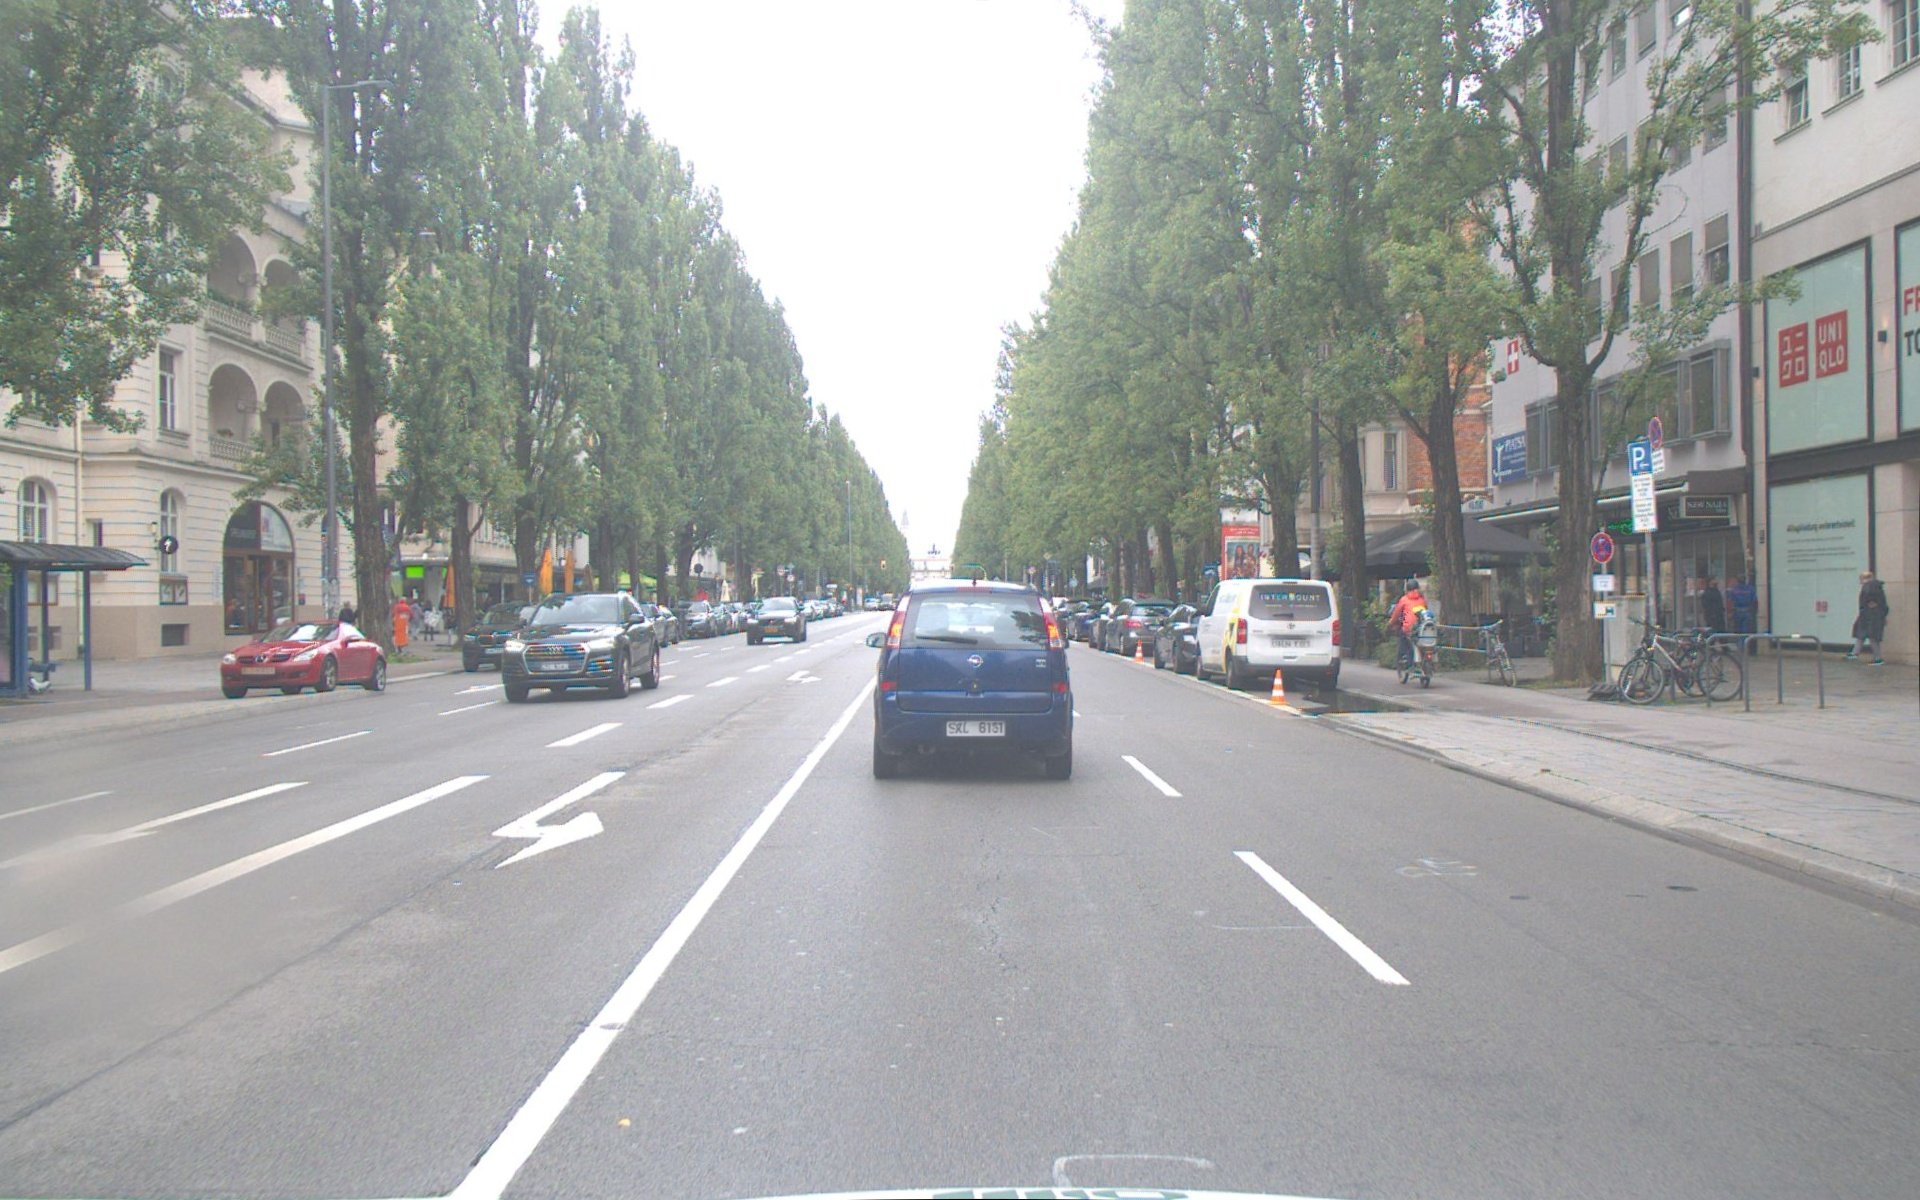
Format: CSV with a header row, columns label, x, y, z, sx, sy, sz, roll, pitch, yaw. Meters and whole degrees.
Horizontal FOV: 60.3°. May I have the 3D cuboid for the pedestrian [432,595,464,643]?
label,x,y,z,sx,sy,sz,roll,pitch,yaw
pedestrian,-19.100,0.705,61.719,0.834,1.775,1.148,-1,0,-1

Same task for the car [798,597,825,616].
label,x,y,z,sx,sy,sz,roll,pitch,yaw
car,-11.579,0.511,129.225,1.793,1.445,3.810,0,0,-1

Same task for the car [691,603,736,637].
label,x,y,z,sx,sy,sz,roll,pitch,yaw
car,-11.801,0.936,79.441,1.663,1.577,4.080,-1,0,-2

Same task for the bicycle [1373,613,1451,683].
label,x,y,z,sx,sy,sz,roll,pitch,yaw
bicycle,7.566,0.783,27.805,0.614,1.106,2.263,-1,0,-2

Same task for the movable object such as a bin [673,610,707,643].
label,x,y,z,sx,sy,sz,roll,pitch,yaw
movable object such as a bin,-11.256,1.107,68.960,1.251,1.333,0.901,-1,0,-1

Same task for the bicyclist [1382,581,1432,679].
label,x,y,z,sx,sy,sz,roll,pitch,yaw
bicyclist,7.554,0.501,27.969,0.609,1.616,0.753,-1,0,-2

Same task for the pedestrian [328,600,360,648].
label,x,y,z,sx,sy,sz,roll,pitch,yaw
pedestrian,-20.613,0.803,55.330,0.753,1.564,0.804,-1,0,-1

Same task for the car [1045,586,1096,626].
label,x,y,z,sx,sy,sz,roll,pitch,yaw
car,4.921,0.245,74.019,1.790,1.649,4.746,-2,0,-2

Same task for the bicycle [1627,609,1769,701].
label,x,y,z,sx,sy,sz,roll,pitch,yaw
bicycle,9.910,0.733,22.225,1.727,1.062,0.482,-5,1,-12

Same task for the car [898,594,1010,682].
label,x,y,z,sx,sy,sz,roll,pitch,yaw
car,-0.160,0.661,31.162,1.953,1.524,3.999,-1,0,-2

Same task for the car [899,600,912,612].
label,x,y,z,sx,sy,sz,roll,pitch,yaw
car,-7.895,0.863,240.697,1.798,1.706,3.777,-1,0,-2

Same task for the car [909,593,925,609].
label,x,y,z,sx,sy,sz,roll,pitch,yaw
car,-5.043,0.133,194.758,1.798,1.792,3.777,-1,0,-2

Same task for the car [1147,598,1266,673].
label,x,y,z,sx,sy,sz,roll,pitch,yaw
car,5.187,0.718,35.295,1.685,1.467,4.351,1,0,-3

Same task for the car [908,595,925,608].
label,x,y,z,sx,sy,sz,roll,pitch,yaw
car,-4.977,0.217,188.770,1.922,1.424,3.777,-1,0,-2

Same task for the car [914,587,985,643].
label,x,y,z,sx,sy,sz,roll,pitch,yaw
car,-0.352,0.412,48.009,1.953,1.524,3.999,-1,0,-2

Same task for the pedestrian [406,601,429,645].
label,x,y,z,sx,sy,sz,roll,pitch,yaw
pedestrian,-21.496,0.906,65.554,0.612,1.752,0.826,-1,0,-2

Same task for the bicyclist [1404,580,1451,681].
label,x,y,z,sx,sy,sz,roll,pitch,yaw
bicyclist,7.590,0.495,26.866,0.609,1.616,0.391,-1,0,-2

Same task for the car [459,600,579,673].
label,x,y,z,sx,sy,sz,roll,pitch,yaw
car,-11.118,0.873,42.036,1.783,1.646,4.716,-1,1,0

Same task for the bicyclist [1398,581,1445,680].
label,x,y,z,sx,sy,sz,roll,pitch,yaw
bicyclist,7.581,0.497,27.204,0.609,1.616,0.481,-1,0,-2

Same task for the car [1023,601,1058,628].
label,x,y,z,sx,sy,sz,roll,pitch,yaw
car,4.488,0.798,92.703,1.648,1.439,3.582,1,0,-2

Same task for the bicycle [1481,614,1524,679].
label,x,y,z,sx,sy,sz,roll,pitch,yaw
bicycle,9.253,0.777,28.235,0.357,1.056,1.732,-1,0,7

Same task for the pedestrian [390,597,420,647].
label,x,y,z,sx,sy,sz,roll,pitch,yaw
pedestrian,-19.332,0.767,57.593,0.719,1.702,0.952,-1,0,-1

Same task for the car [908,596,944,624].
label,x,y,z,sx,sy,sz,roll,pitch,yaw
car,-1.968,0.541,94.792,1.953,1.524,3.999,-1,0,-2

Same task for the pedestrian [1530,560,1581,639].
label,x,y,z,sx,sy,sz,roll,pitch,yaw
pedestrian,14.346,-0.014,39.860,0.809,1.873,1.099,-1,0,0

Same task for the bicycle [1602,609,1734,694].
label,x,y,z,sx,sy,sz,roll,pitch,yaw
bicycle,9.818,0.700,22.942,1.707,1.130,0.447,-1,0,-11

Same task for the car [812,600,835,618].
label,x,y,z,sx,sy,sz,roll,pitch,yaw
car,-12.533,0.840,152.317,1.922,1.557,3.998,-1,0,-2

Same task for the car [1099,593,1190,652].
label,x,y,z,sx,sy,sz,roll,pitch,yaw
car,5.109,0.608,46.256,1.781,1.532,4.229,-1,0,-4

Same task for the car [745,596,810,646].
label,x,y,z,sx,sy,sz,roll,pitch,yaw
car,-6.561,0.729,59.800,1.896,1.651,4.335,-2,0,-1

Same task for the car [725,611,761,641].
label,x,y,z,sx,sy,sz,roll,pitch,yaw
car,-12.103,1.437,92.353,1.540,1.561,2.923,-1,0,1

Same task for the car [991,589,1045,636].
label,x,y,z,sx,sy,sz,roll,pitch,yaw
car,2.046,0.440,59.394,1.672,1.601,3.999,-1,0,-2

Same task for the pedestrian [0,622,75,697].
label,x,y,z,sx,sy,sz,roll,pitch,yaw
pedestrian,-16.433,1.053,29.413,0.941,1.278,0.757,1,0,1

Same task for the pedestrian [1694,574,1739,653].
label,x,y,z,sx,sy,sz,roll,pitch,yaw
pedestrian,15.850,0.286,34.663,0.656,1.637,0.772,1,-1,6

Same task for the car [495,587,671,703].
label,x,y,z,sx,sy,sz,roll,pitch,yaw
car,-6.030,0.666,26.974,1.874,1.710,4.585,-1,0,-1

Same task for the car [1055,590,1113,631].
label,x,y,z,sx,sy,sz,roll,pitch,yaw
car,5.091,0.422,68.435,1.953,1.592,4.482,-1,0,-2

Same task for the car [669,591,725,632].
label,x,y,z,sx,sy,sz,roll,pitch,yaw
car,-11.779,0.516,74.314,1.827,1.683,4.614,-3,0,-2

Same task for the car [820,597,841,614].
label,x,y,z,sx,sy,sz,roll,pitch,yaw
car,-13.151,0.583,168.284,1.953,1.691,3.999,-1,0,-2

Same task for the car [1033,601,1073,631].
label,x,y,z,sx,sy,sz,roll,pitch,yaw
car,4.712,0.785,84.144,1.636,1.431,4.126,1,0,-2

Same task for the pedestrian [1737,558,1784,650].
label,x,y,z,sx,sy,sz,roll,pitch,yaw
pedestrian,16.448,0.083,33.985,0.852,1.861,0.835,-1,0,27

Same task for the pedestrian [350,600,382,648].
label,x,y,z,sx,sy,sz,roll,pitch,yaw
pedestrian,-19.765,0.805,55.045,0.753,1.564,0.804,-1,0,-1

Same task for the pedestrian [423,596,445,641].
label,x,y,z,sx,sy,sz,roll,pitch,yaw
pedestrian,-20.855,0.741,65.589,0.612,1.752,0.826,-1,0,-2

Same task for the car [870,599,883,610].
label,x,y,z,sx,sy,sz,roll,pitch,yaw
car,-12.564,0.704,248.798,1.922,1.576,3.777,-1,0,-2

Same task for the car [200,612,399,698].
label,x,y,z,sx,sy,sz,roll,pitch,yaw
car,-11.398,0.900,28.843,1.841,1.321,4.094,-1,0,-1

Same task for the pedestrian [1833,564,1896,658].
label,x,y,z,sx,sy,sz,roll,pitch,yaw
pedestrian,16.068,0.184,29.399,0.656,1.637,0.828,-1,0,0

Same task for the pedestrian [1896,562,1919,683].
label,x,y,z,sx,sy,sz,roll,pitch,yaw
pedestrian,13.994,0.311,23.438,0.969,1.703,0.821,-1,0,-19

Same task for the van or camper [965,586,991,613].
label,x,y,z,sx,sy,sz,roll,pitch,yaw
van or camper,1.770,-0.075,166.340,2.426,2.626,5.843,-1,0,-1

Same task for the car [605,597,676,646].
label,x,y,z,sx,sy,sz,roll,pitch,yaw
car,-11.123,0.714,57.798,1.746,1.603,4.131,-1,0,-1

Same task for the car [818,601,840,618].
label,x,y,z,sx,sy,sz,roll,pitch,yaw
car,-12.812,0.930,161.573,1.922,1.576,3.777,-1,0,-2

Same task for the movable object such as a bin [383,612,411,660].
label,x,y,z,sx,sy,sz,roll,pitch,yaw
movable object such as a bin,-16.088,1.020,47.243,0.592,1.339,0.586,-1,0,-1

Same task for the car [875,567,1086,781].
label,x,y,z,sx,sy,sz,roll,pitch,yaw
car,0.100,0.571,14.945,1.647,1.670,3.999,0,0,-2

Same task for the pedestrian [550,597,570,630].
label,x,y,z,sx,sy,sz,roll,pitch,yaw
pedestrian,-22.229,0.738,91.941,0.834,1.775,1.148,-1,0,-1

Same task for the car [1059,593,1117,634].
label,x,y,z,sx,sy,sz,roll,pitch,yaw
car,4.722,0.473,61.546,1.714,1.430,4.463,-1,0,-1

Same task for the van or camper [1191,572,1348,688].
label,x,y,z,sx,sy,sz,roll,pitch,yaw
van or camper,5.471,0.492,29.891,1.830,1.916,4.902,0,0,-1

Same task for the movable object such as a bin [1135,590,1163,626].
label,x,y,z,sx,sy,sz,roll,pitch,yaw
movable object such as a bin,9.151,0.395,80.093,1.012,1.733,1.585,-1,0,-5

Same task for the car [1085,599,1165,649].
label,x,y,z,sx,sy,sz,roll,pitch,yaw
car,5.058,0.710,51.312,1.840,1.457,4.802,-1,0,-2
